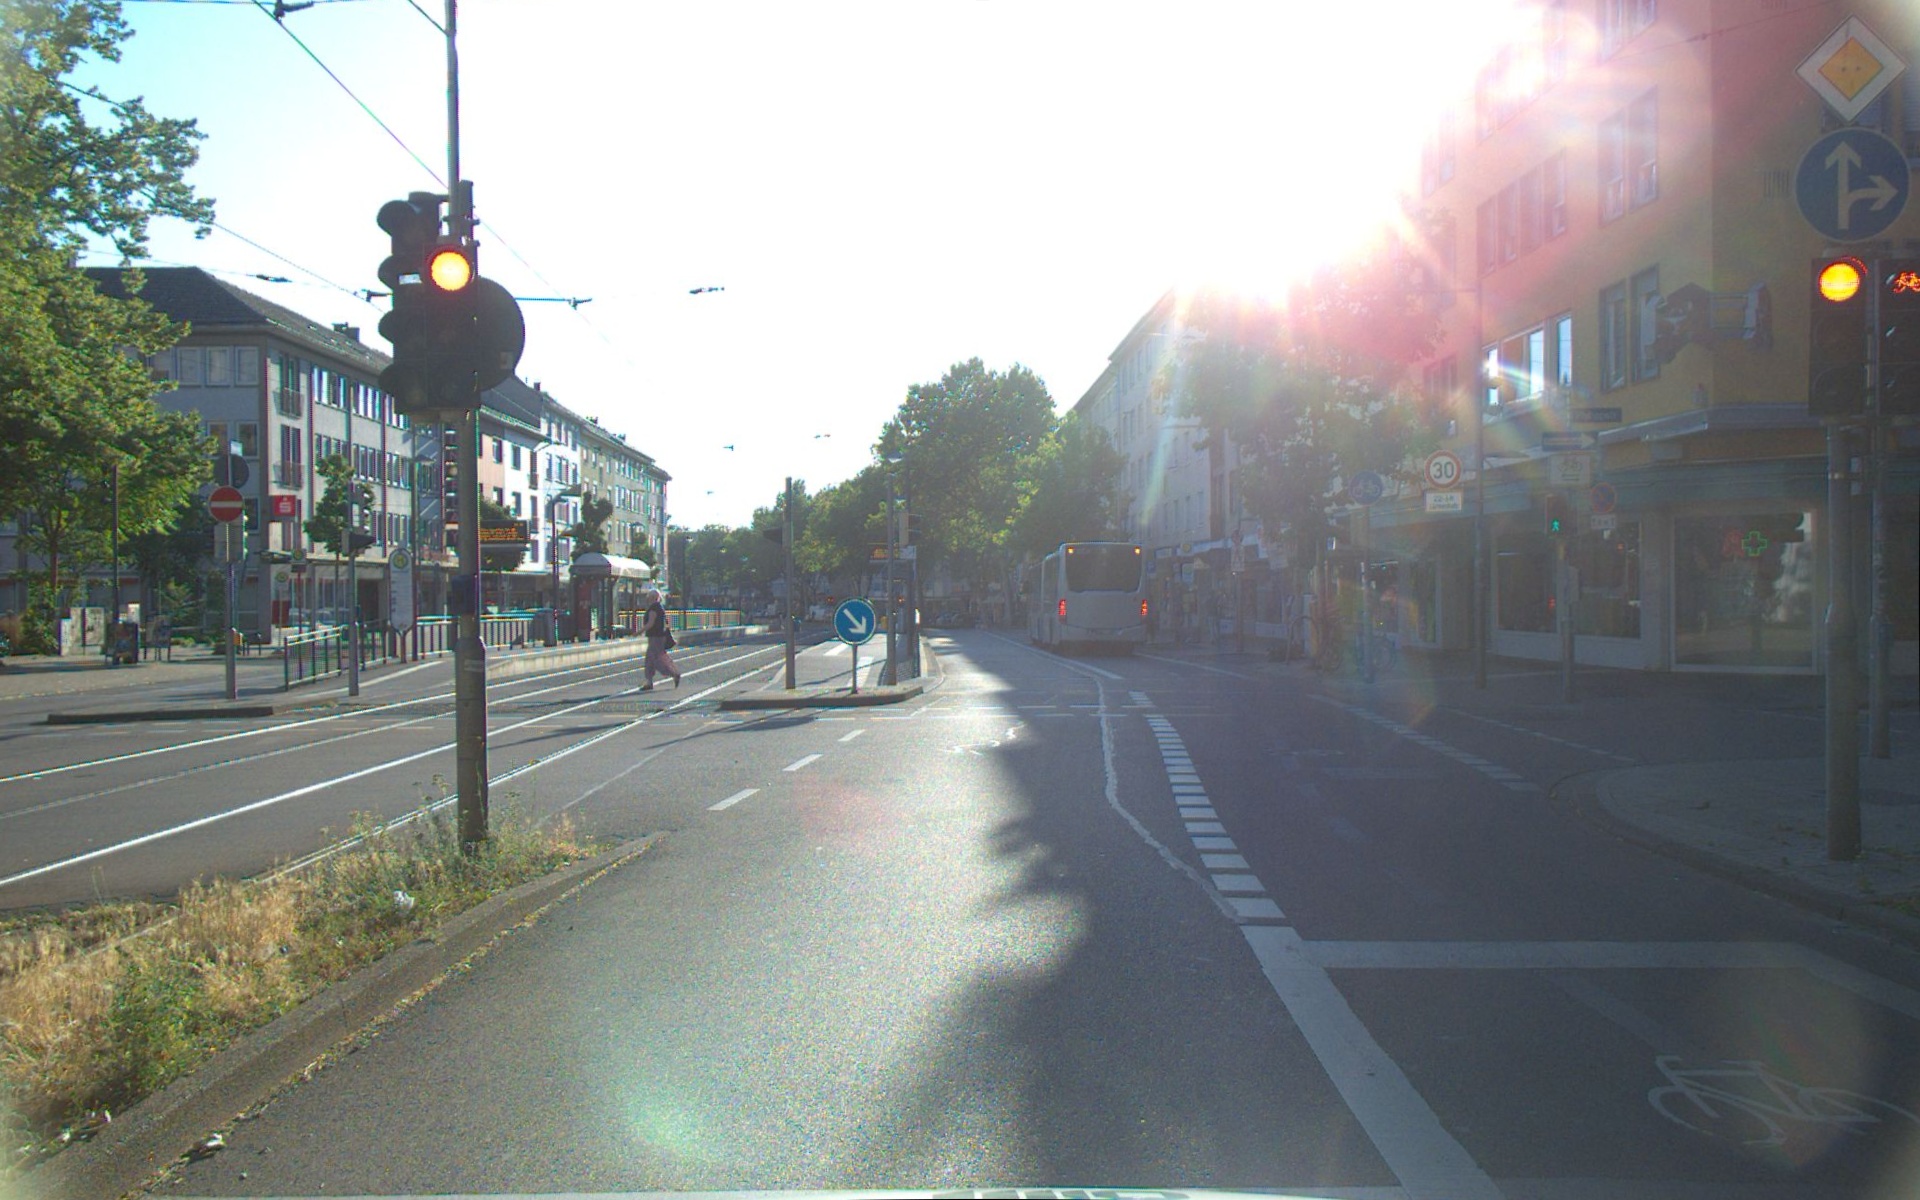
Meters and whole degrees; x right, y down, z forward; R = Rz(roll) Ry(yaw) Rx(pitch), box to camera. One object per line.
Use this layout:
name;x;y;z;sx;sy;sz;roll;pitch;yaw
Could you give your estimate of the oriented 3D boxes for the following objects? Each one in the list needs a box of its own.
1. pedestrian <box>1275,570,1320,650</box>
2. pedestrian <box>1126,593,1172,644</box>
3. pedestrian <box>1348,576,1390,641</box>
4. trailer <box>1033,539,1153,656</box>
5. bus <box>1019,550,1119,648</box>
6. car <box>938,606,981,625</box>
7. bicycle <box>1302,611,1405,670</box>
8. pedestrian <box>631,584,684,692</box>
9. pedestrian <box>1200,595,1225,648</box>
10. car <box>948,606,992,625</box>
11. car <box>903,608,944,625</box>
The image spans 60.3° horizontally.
pedestrian;8.840;0.252;43.394;0.934;2.049;0.917;-1;0;-3
pedestrian;6.370;0.608;55.793;1.131;1.689;1.178;-1;0;-21
pedestrian;13.121;0.258;53.128;0.971;2.049;0.926;-1;0;-14
trailer;3.867;-0.056;50.047;2.755;3.165;8.792;1;0;-1
bus;3.744;-0.028;58.942;2.755;3.156;9.092;1;0;-1
car;-0.056;1.475;161.375;3.848;1.729;1.815;-1;0;-30
bicycle;7.466;0.760;31.422;1.737;1.039;0.694;-2;0;-2
pedestrian;-5.296;0.655;28.964;0.666;1.800;0.687;-5;1;0
pedestrian;8.076;0.693;52.847;0.662;1.656;0.655;1;0;0
car;0.947;1.510;158.664;3.848;1.729;1.815;-1;0;-30
car;-3.666;1.630;166.272;3.848;1.624;1.674;-1;0;-30
